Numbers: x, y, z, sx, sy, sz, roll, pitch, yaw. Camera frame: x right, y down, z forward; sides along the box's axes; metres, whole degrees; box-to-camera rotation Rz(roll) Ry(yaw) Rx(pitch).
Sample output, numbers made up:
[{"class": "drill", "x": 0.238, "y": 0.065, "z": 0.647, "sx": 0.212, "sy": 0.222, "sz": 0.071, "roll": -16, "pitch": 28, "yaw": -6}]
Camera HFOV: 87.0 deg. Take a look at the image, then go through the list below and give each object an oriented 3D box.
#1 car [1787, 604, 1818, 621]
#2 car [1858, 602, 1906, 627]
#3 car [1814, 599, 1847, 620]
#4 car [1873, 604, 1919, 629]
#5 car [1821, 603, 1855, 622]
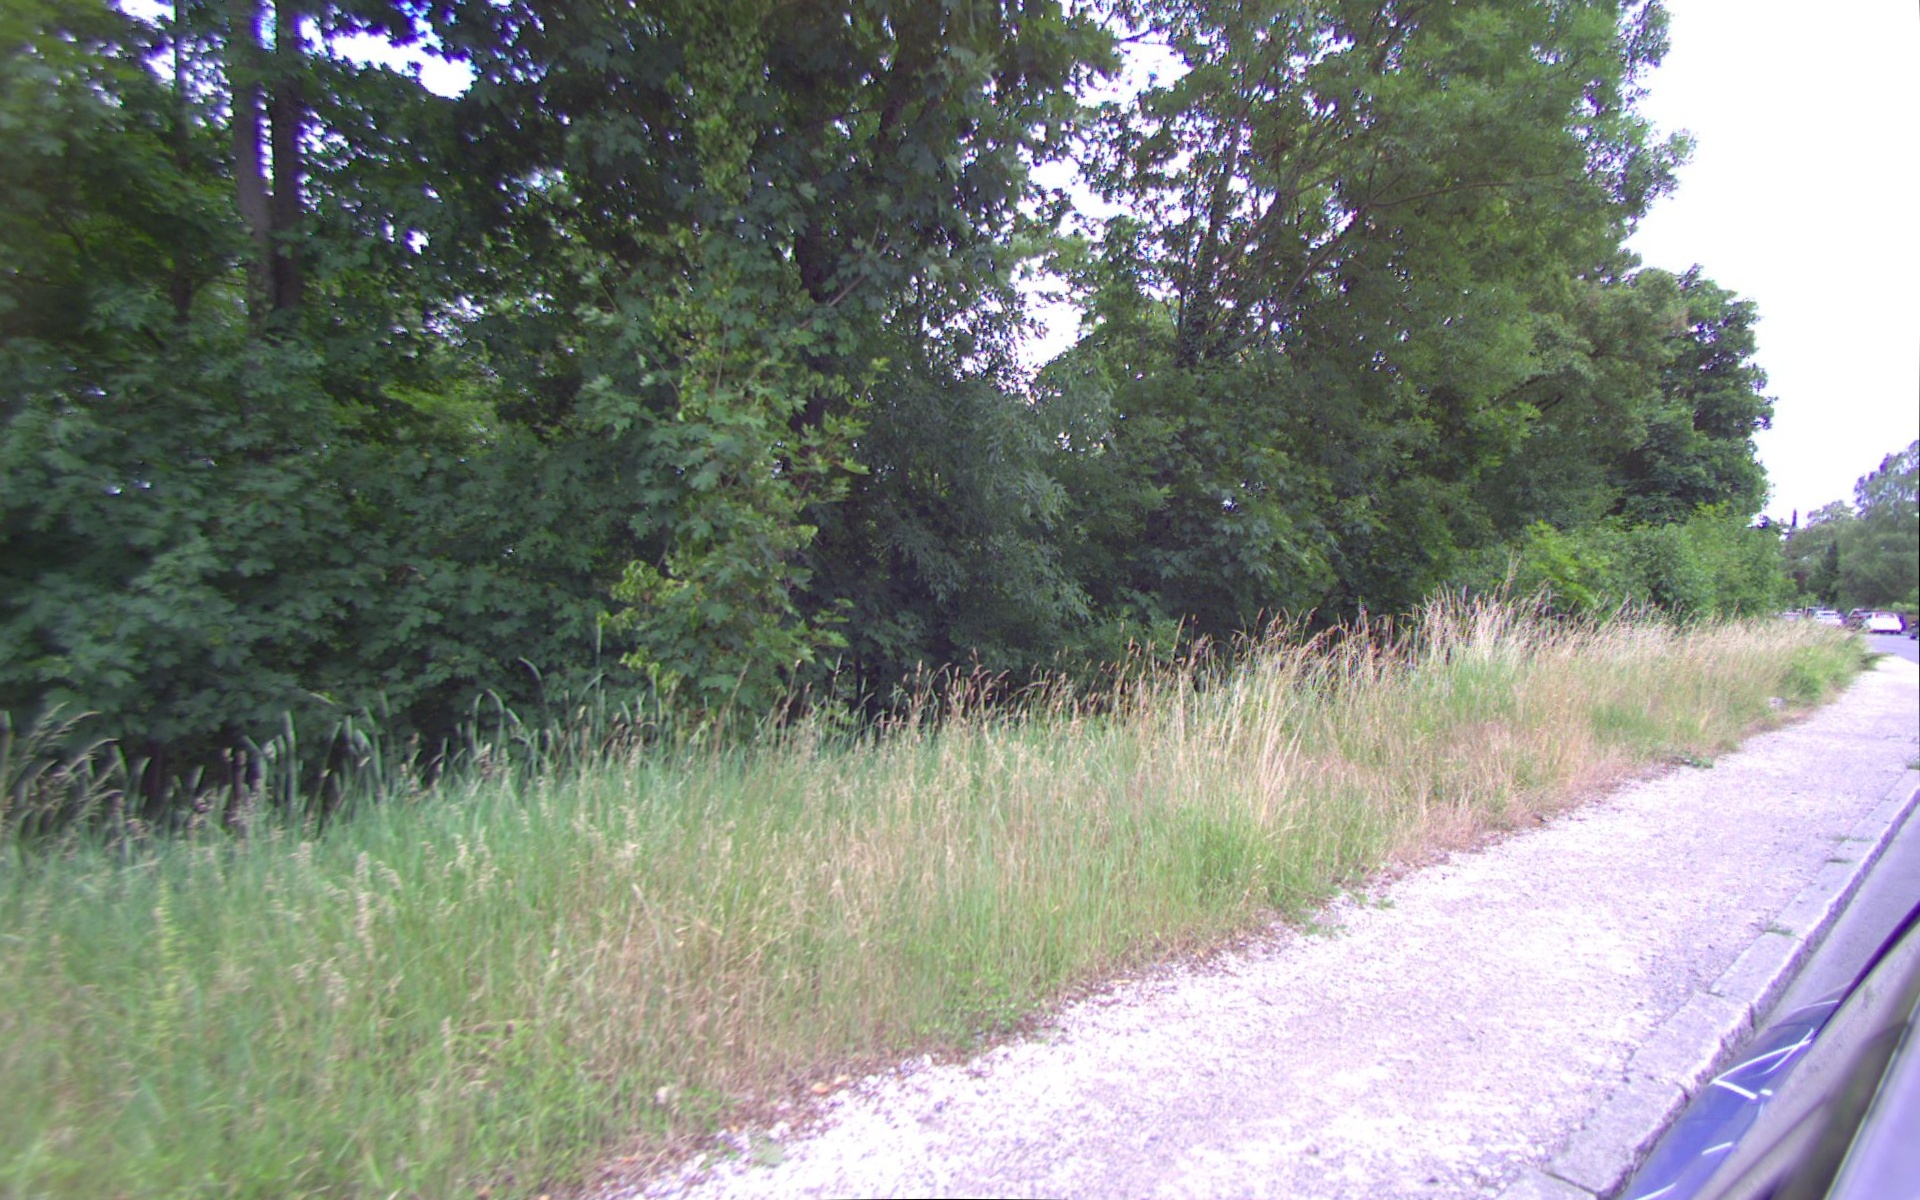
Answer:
[{"class": "car", "x": 83.243, "y": 1.177, "z": 100.009, "sx": 1.789, "sy": 1.627, "sz": 4.673, "roll": 1, "pitch": 0, "yaw": 33}, {"class": "car", "x": 64.790, "y": 1.018, "z": 71.150, "sx": 1.785, "sy": 1.685, "sz": 4.339, "roll": 1, "pitch": 0, "yaw": 33}, {"class": "car", "x": 76.484, "y": 0.818, "z": 88.996, "sx": 1.701, "sy": 1.822, "sz": 4.244, "roll": 1, "pitch": 0, "yaw": 34}, {"class": "car", "x": 62.310, "y": 1.069, "z": 67.381, "sx": 1.700, "sy": 1.530, "sz": 3.899, "roll": 1, "pitch": 0, "yaw": 33}, {"class": "car", "x": 72.950, "y": 1.025, "z": 84.130, "sx": 1.701, "sy": 1.530, "sz": 4.496, "roll": 1, "pitch": 0, "yaw": 35}]
